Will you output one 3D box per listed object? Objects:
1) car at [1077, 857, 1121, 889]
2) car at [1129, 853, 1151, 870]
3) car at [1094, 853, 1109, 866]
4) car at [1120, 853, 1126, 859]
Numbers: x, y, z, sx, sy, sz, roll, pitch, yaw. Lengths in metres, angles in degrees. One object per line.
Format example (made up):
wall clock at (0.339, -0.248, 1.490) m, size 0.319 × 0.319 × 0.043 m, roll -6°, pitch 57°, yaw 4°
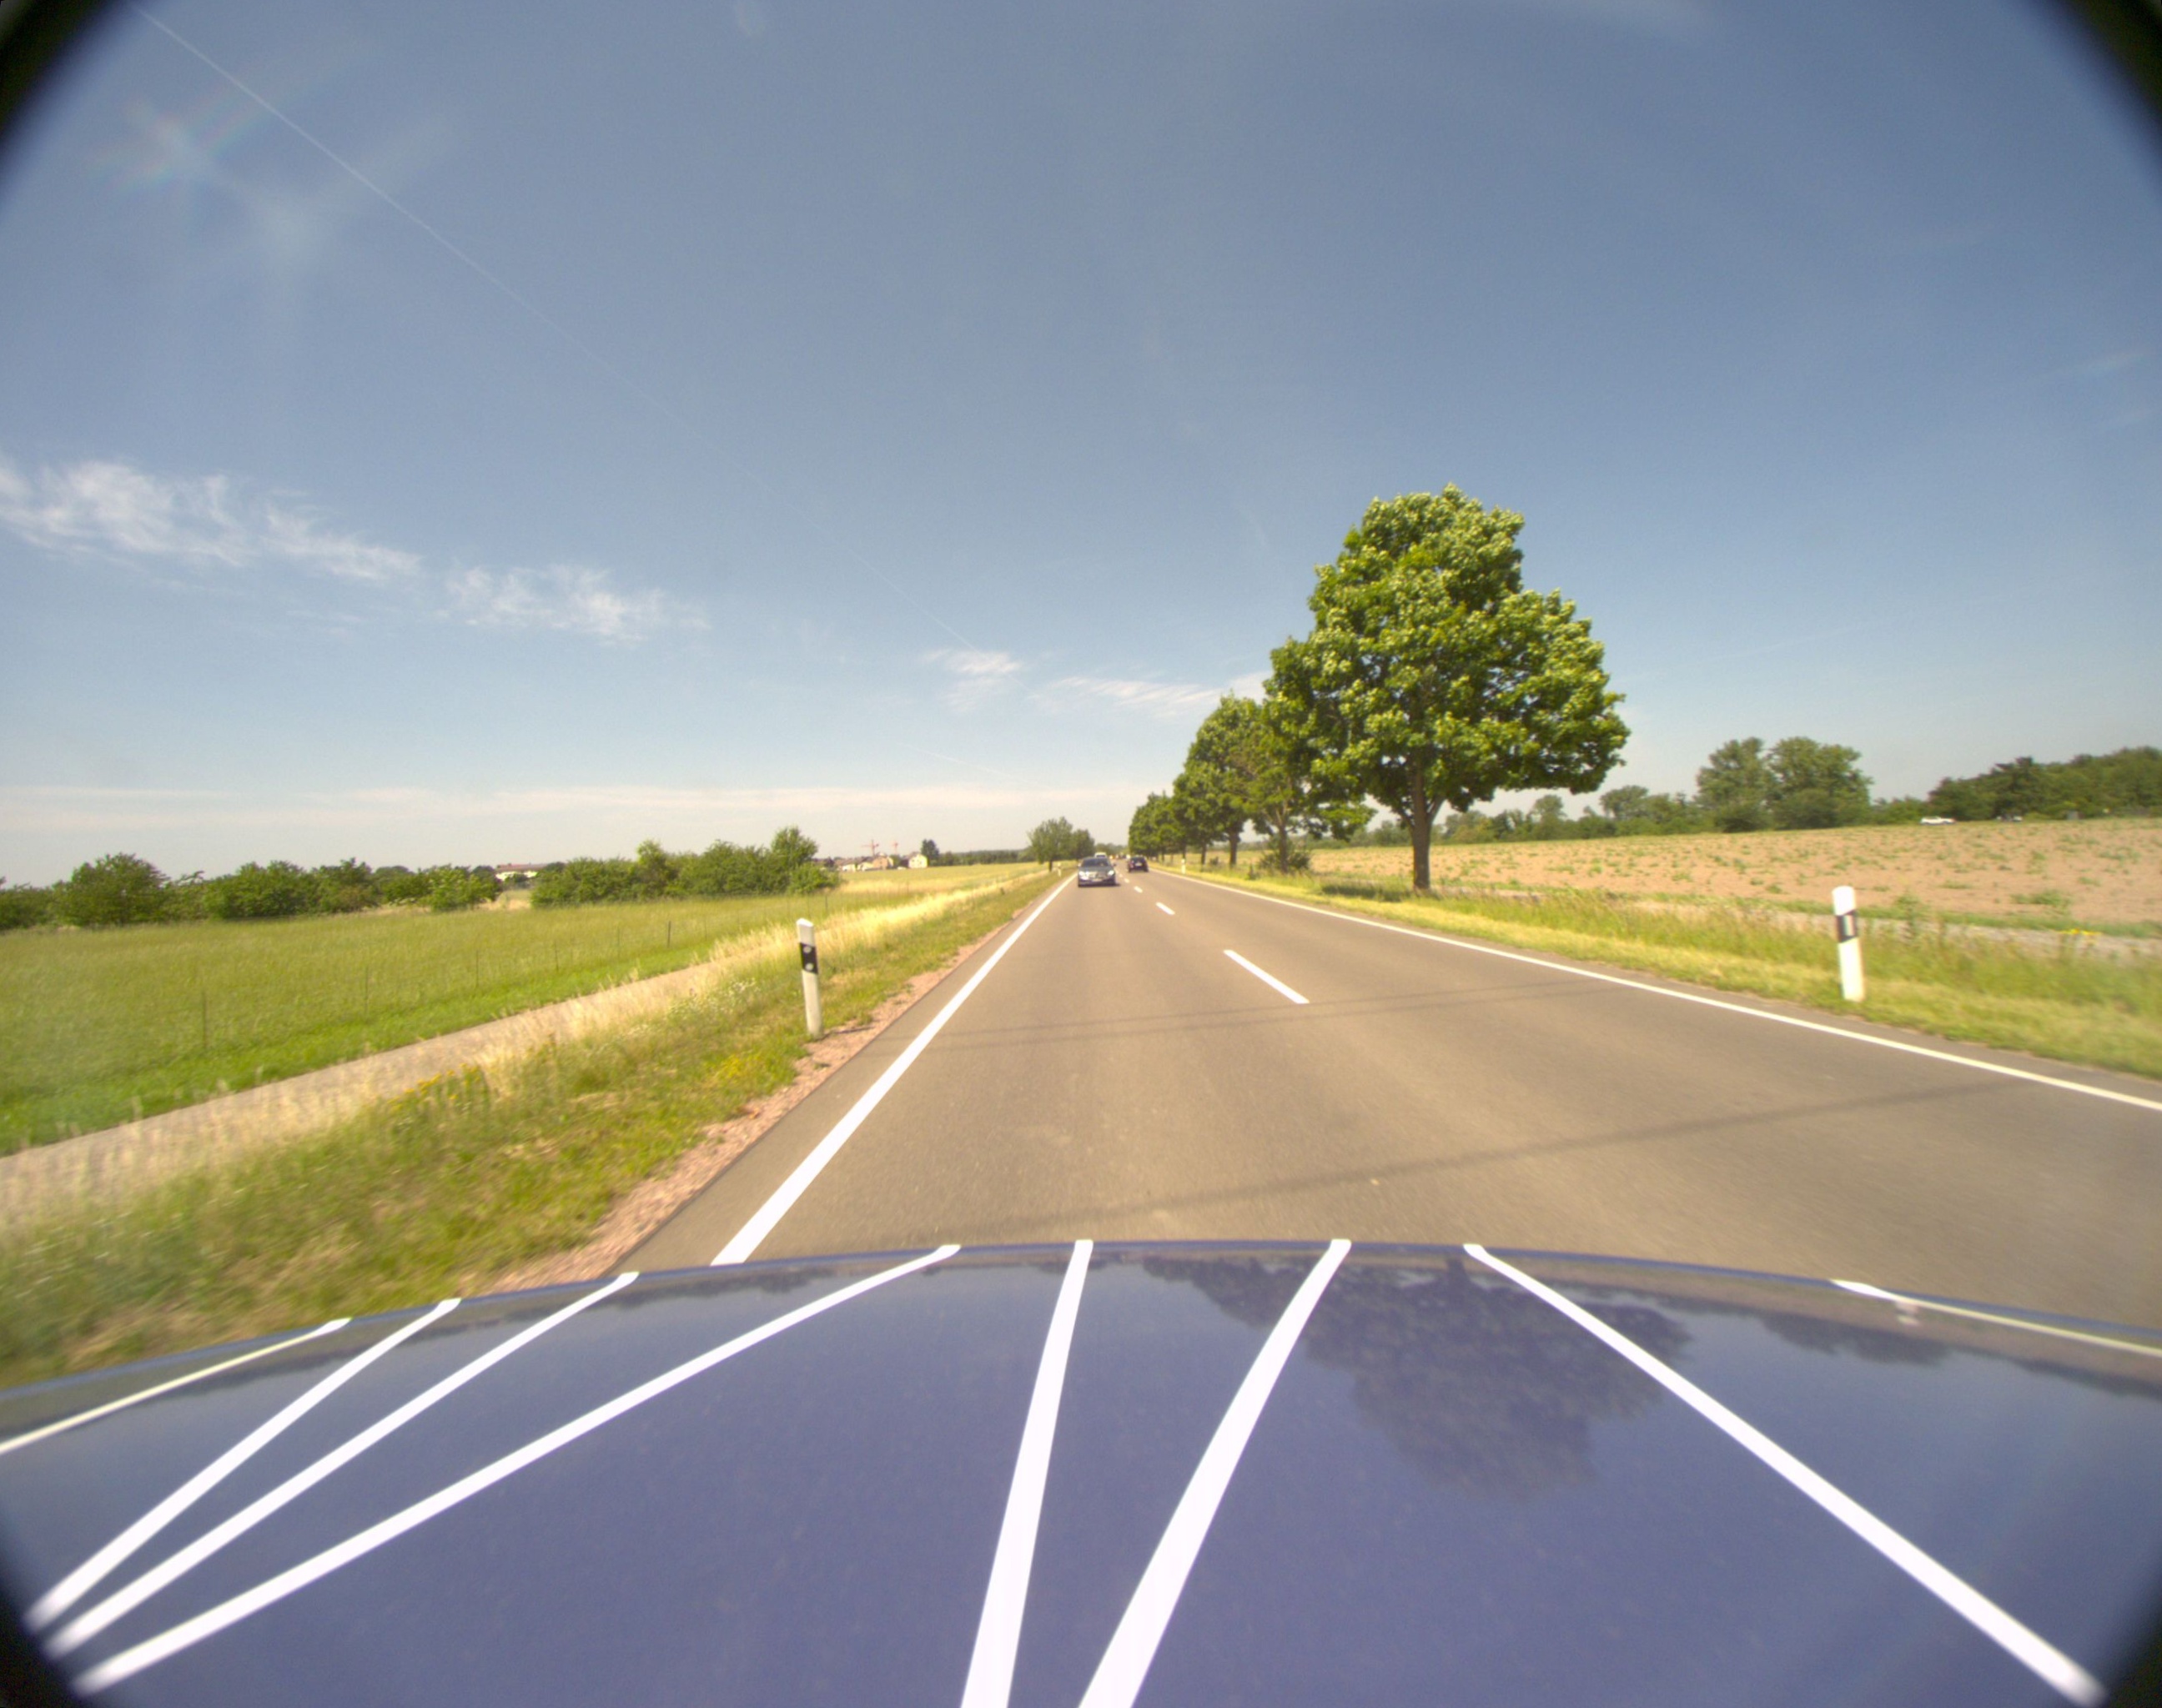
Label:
car at (0.860, 0.857, 36.151) m, size 1.953 × 1.390 × 4.000 m, roll -1°, pitch 0°, yaw 1°
car at (5.097, 0.632, 65.974) m, size 1.709 × 1.325 × 4.000 m, roll -2°, pitch 1°, yaw 2°
car at (3.130, 0.787, 114.244) m, size 1.998 × 1.907 × 4.207 m, roll -3°, pitch 0°, yaw 4°
car at (12.268, 0.536, 223.740) m, size 1.685 × 1.838 × 4.000 m, roll -3°, pitch 0°, yaw 2°
